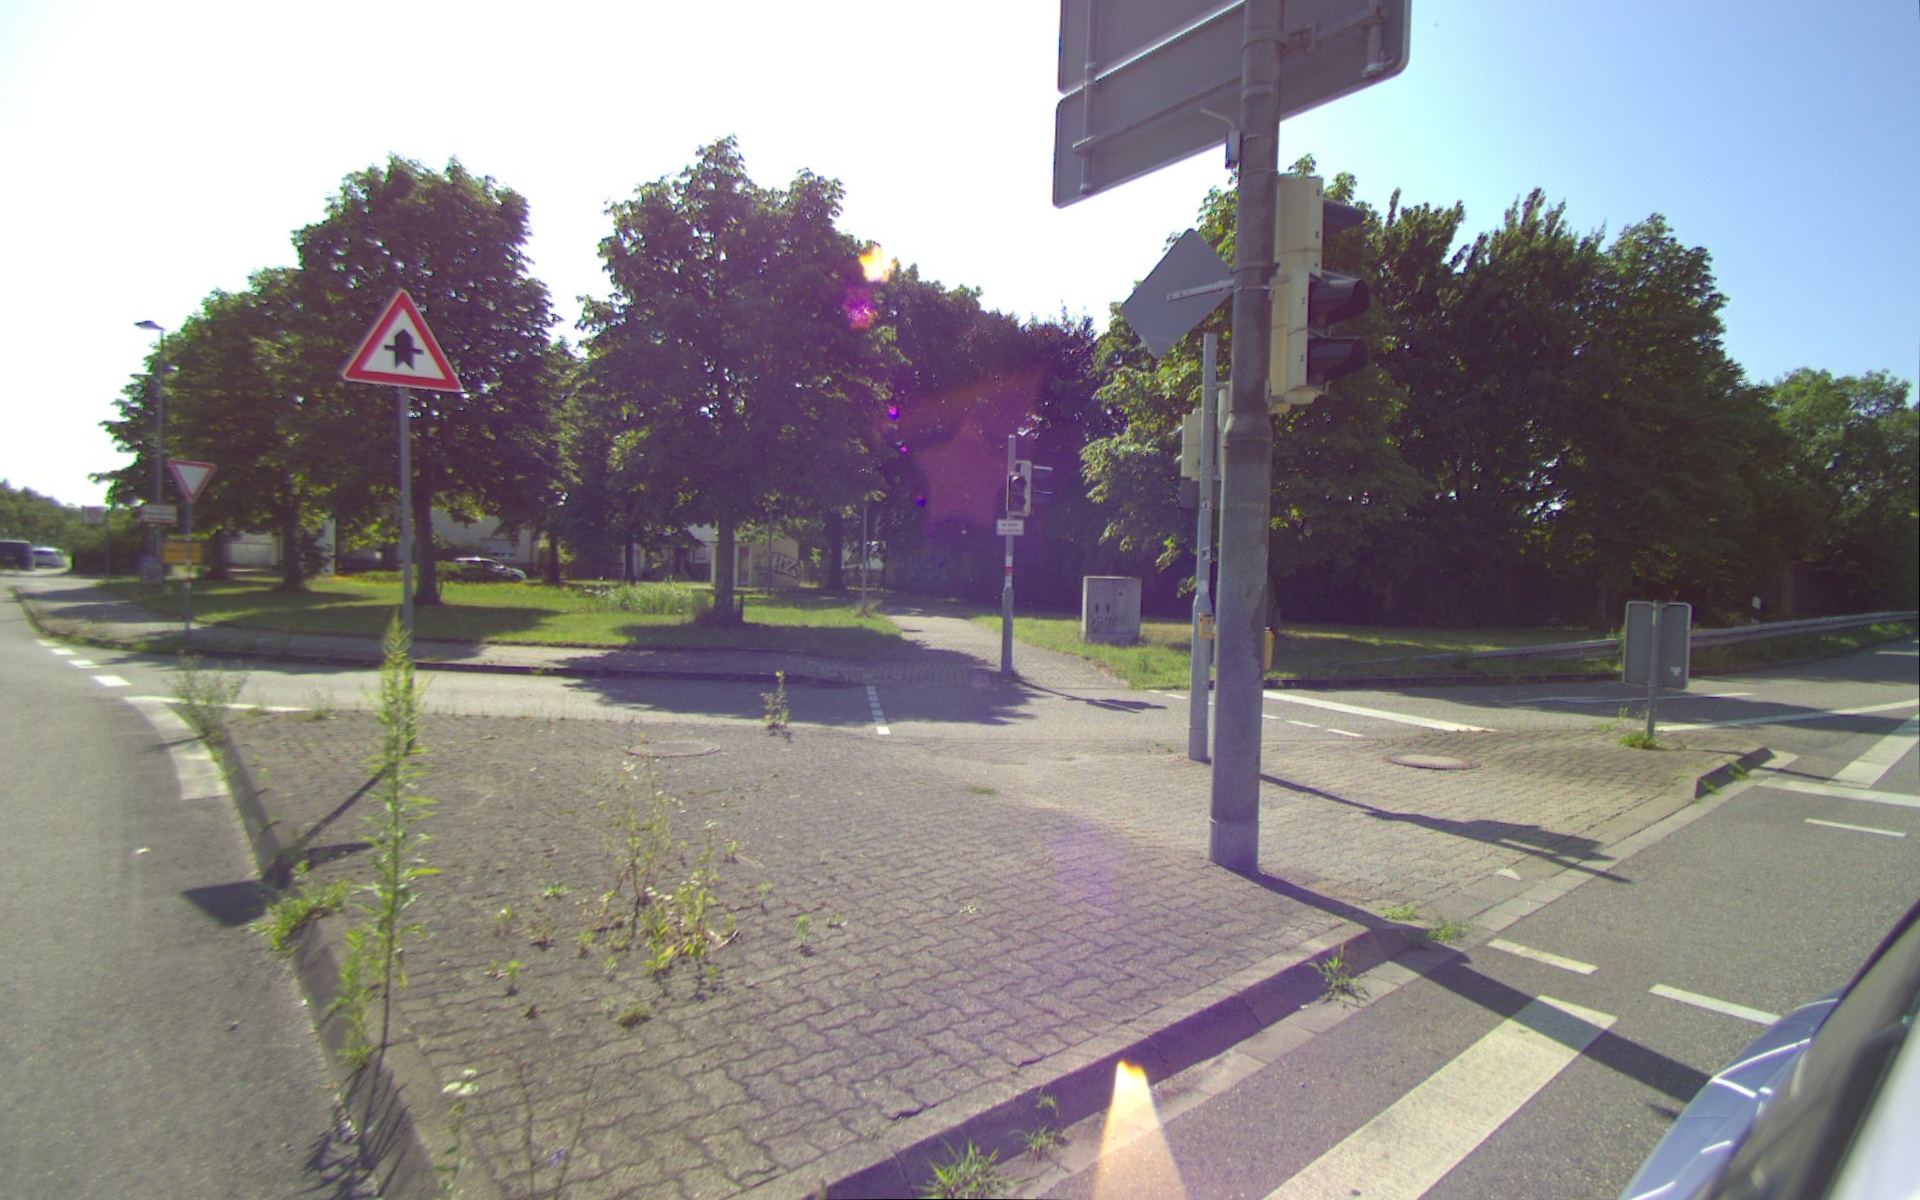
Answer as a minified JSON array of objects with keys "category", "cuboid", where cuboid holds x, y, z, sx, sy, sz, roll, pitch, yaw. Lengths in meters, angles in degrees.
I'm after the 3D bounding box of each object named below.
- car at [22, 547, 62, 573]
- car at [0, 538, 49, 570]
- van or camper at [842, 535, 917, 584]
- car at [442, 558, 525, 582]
[{"category":"car","cuboid":[-72.476,-3.158,79.939,1.963,1.950,3.998,-1,1,-37]},{"category":"car","cuboid":[-55.316,-2.717,59.323,1.960,1.812,4.006,0,2,-29]},{"category":"van or camper","cuboid":[-4.975,-2.476,61.942,1.966,2.866,4.806,0,2,-43]},{"category":"car","cuboid":[-26.850,-1.689,57.071,3.929,1.304,1.731,-1,2,-40]}]
